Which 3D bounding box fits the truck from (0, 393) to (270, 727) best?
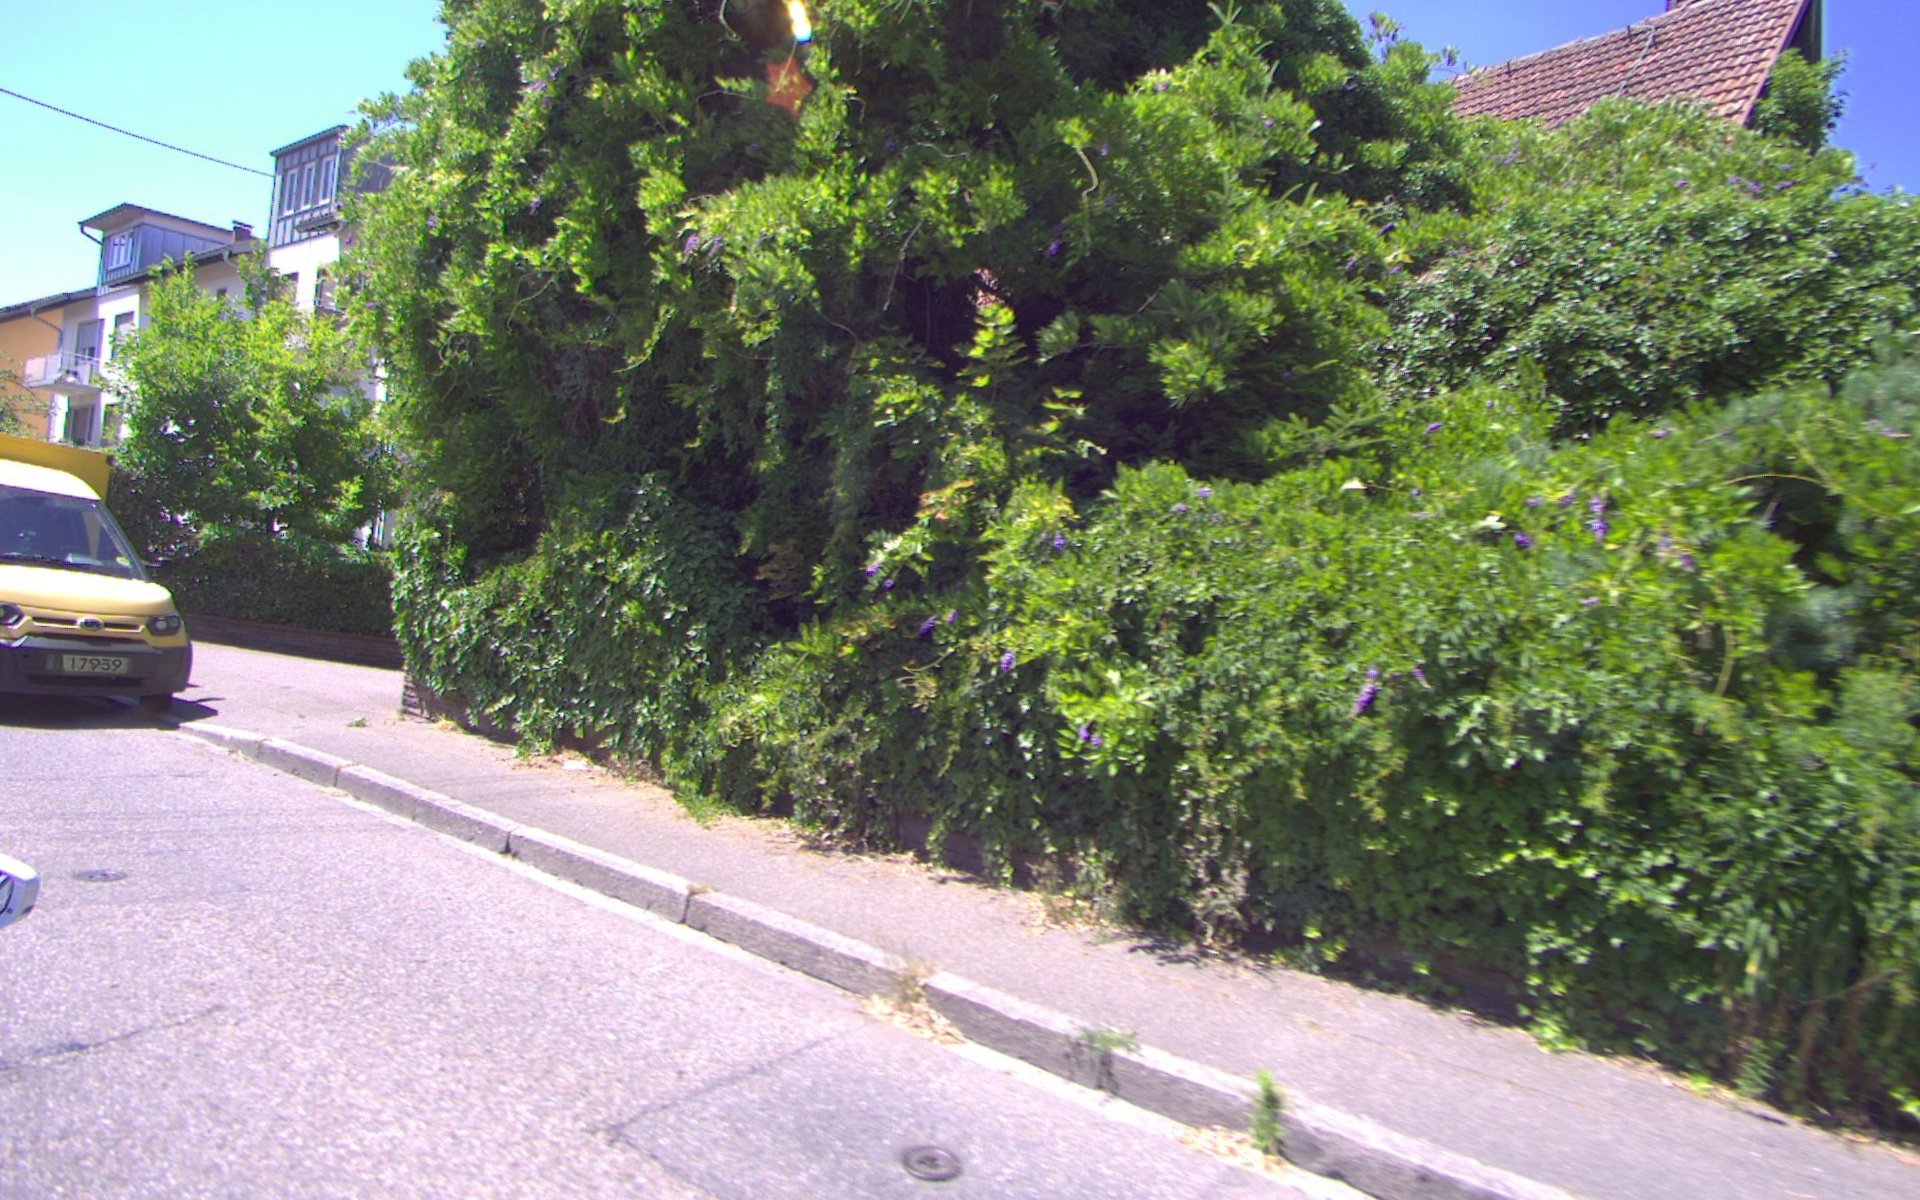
[{"bbox_3d":[-9.195,-0.509,9.110,6.068,2.334,2.020,7,-3,28],"label":"truck"}]
